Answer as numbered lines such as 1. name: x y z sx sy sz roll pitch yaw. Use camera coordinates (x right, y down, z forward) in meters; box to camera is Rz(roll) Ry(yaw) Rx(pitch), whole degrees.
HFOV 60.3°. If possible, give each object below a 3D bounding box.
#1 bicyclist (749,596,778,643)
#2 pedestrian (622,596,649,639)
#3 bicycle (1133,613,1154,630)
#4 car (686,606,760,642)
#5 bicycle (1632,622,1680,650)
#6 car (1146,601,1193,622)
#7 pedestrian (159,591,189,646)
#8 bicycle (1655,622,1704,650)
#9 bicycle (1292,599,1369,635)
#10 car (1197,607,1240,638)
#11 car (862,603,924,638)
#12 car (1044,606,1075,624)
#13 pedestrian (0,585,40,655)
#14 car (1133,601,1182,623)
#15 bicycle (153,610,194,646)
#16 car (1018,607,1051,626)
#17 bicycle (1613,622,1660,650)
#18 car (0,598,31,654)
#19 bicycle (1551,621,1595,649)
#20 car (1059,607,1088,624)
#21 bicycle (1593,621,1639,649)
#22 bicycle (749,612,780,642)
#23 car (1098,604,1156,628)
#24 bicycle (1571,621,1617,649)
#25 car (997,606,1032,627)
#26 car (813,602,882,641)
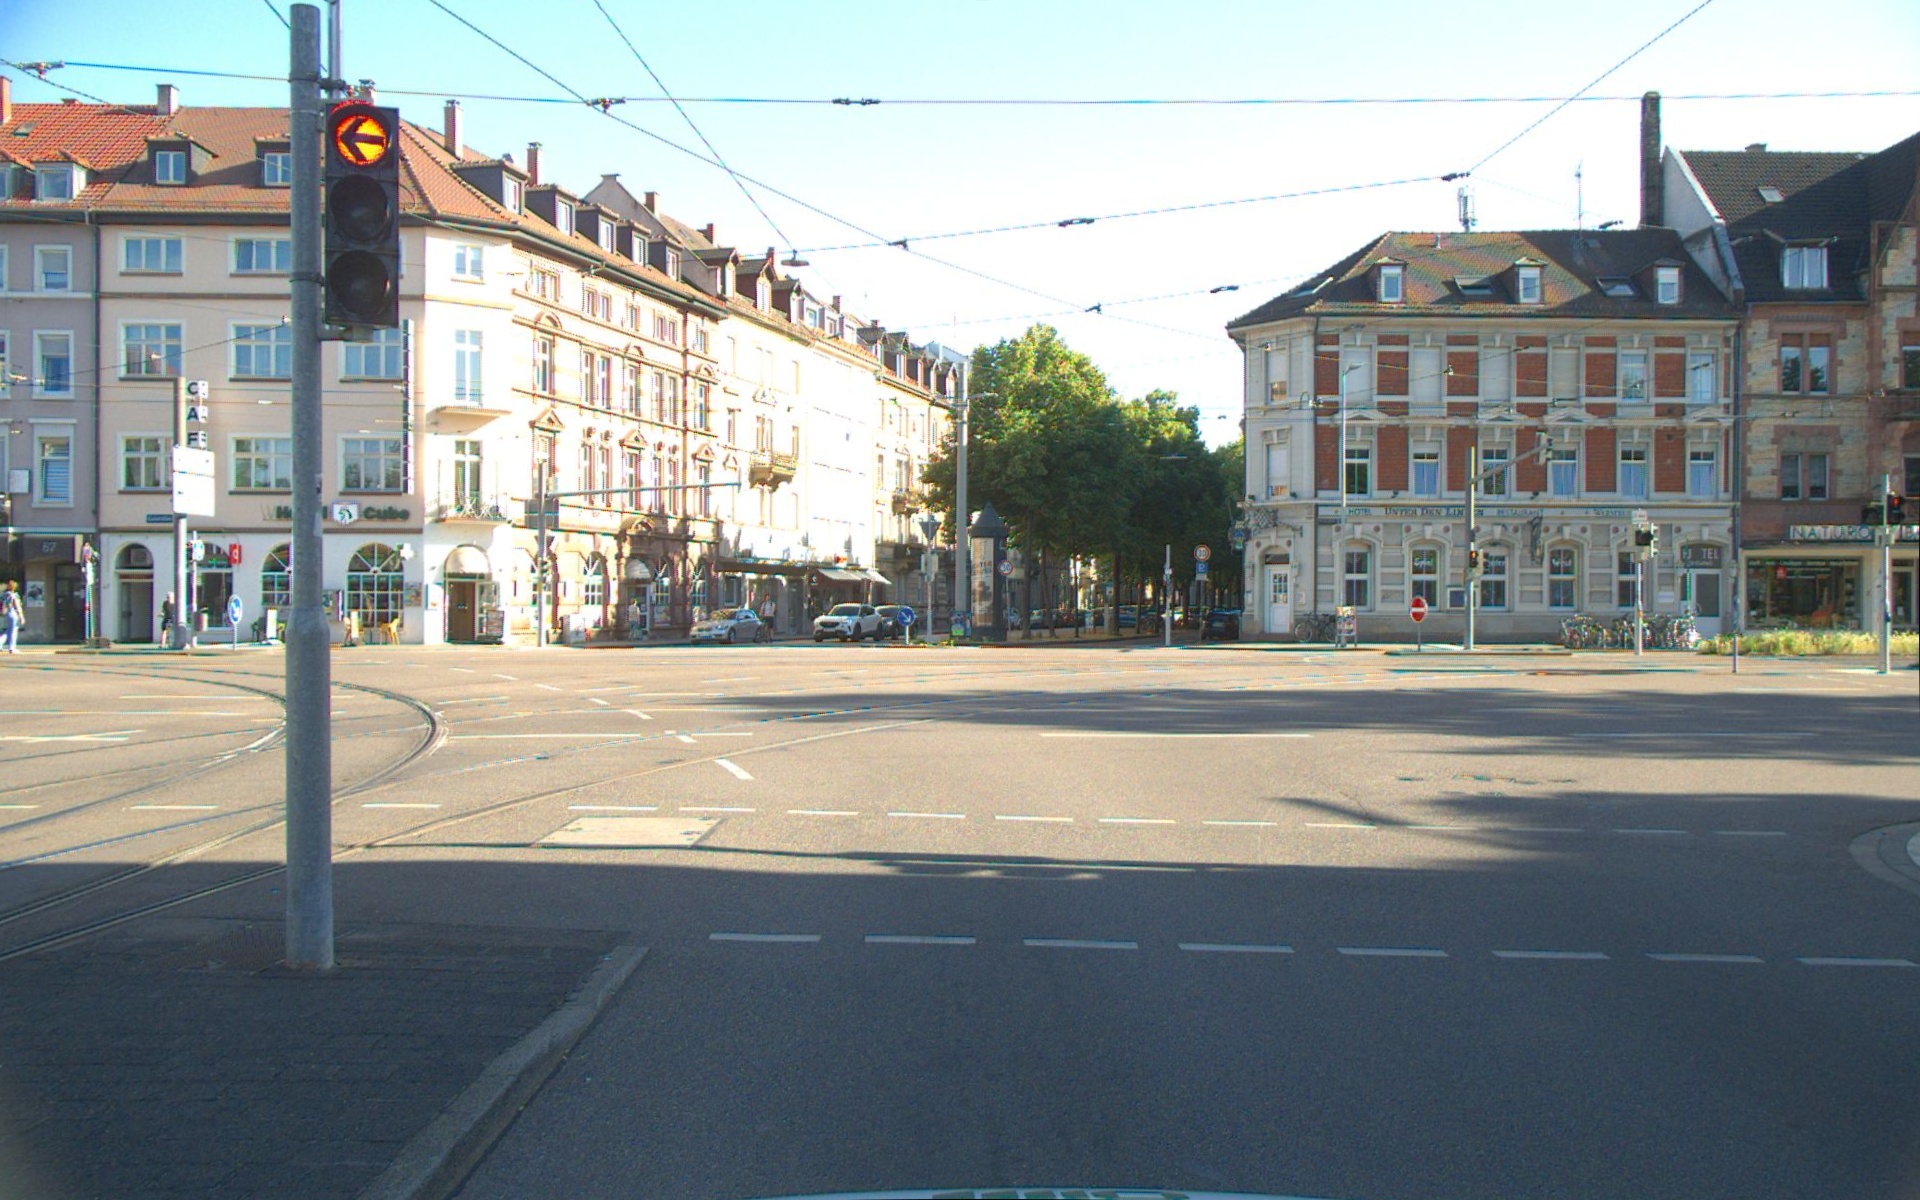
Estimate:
1. bicyclist: -7.715 0.765 65.003 0.761 1.834 1.056 1 -1 13
2. pedestrian: -13.046 0.707 66.495 0.759 1.699 0.831 1 -1 15
3. bicycle: 11.050 1.294 99.627 0.625 1.039 1.840 1 0 -14
4. car: -9.541 0.932 66.744 1.642 1.378 3.593 0 0 16
5. bicycle: 22.490 1.154 53.482 0.645 0.855 2.160 1 0 0
6. car: 16.939 0.883 133.746 3.503 1.677 1.684 0 0 16
7. pedestrian: -24.669 0.583 51.922 0.570 1.699 0.752 1 -1 -1
8. bicycle: 23.279 1.168 53.527 0.645 0.855 2.160 1 0 0
9. bicycle: 12.866 0.588 57.457 2.504 1.194 0.818 1 -1 -4
10. car: 12.957 1.105 82.749 1.642 1.509 3.950 0 0 16
11. car: -2.949 0.886 73.551 1.642 1.509 3.950 0 0 16
12. car: 7.889 1.212 130.844 1.642 1.378 3.593 0 0 16
13. pedestrian: -21.921 0.456 38.358 0.539 1.605 0.832 1 -1 27
14. car: 15.317 0.958 128.247 3.503 1.677 1.684 0 0 16
15. bicycle: -24.673 0.878 51.907 0.561 1.096 1.497 1 0 -1
16. car: 5.531 1.203 122.501 1.642 1.378 3.593 0 0 16
17. bicycle: 21.862 1.144 53.502 0.645 0.855 2.160 1 0 0
18. car: -32.153 0.788 52.256 4.276 1.741 2.306 1 0 1
19. bicycle: 19.760 1.107 53.368 0.645 0.855 2.160 1 0 0
20. car: 9.314 1.249 135.895 1.642 1.378 3.593 0 0 16
21. bicycle: 21.192 1.132 53.468 0.645 0.855 2.160 1 0 0
22. bicycle: -7.682 1.045 65.126 0.687 1.137 1.636 1 0 13
23. car: 11.712 1.114 115.834 3.819 1.677 1.684 0 0 16
24. bicycle: 20.480 1.120 53.455 0.645 0.855 2.160 1 0 0
25. car: 3.819 1.156 115.514 1.642 1.378 3.593 0 0 16
26. car: -4.536 0.842 67.226 1.642 1.509 3.774 0 0 16
